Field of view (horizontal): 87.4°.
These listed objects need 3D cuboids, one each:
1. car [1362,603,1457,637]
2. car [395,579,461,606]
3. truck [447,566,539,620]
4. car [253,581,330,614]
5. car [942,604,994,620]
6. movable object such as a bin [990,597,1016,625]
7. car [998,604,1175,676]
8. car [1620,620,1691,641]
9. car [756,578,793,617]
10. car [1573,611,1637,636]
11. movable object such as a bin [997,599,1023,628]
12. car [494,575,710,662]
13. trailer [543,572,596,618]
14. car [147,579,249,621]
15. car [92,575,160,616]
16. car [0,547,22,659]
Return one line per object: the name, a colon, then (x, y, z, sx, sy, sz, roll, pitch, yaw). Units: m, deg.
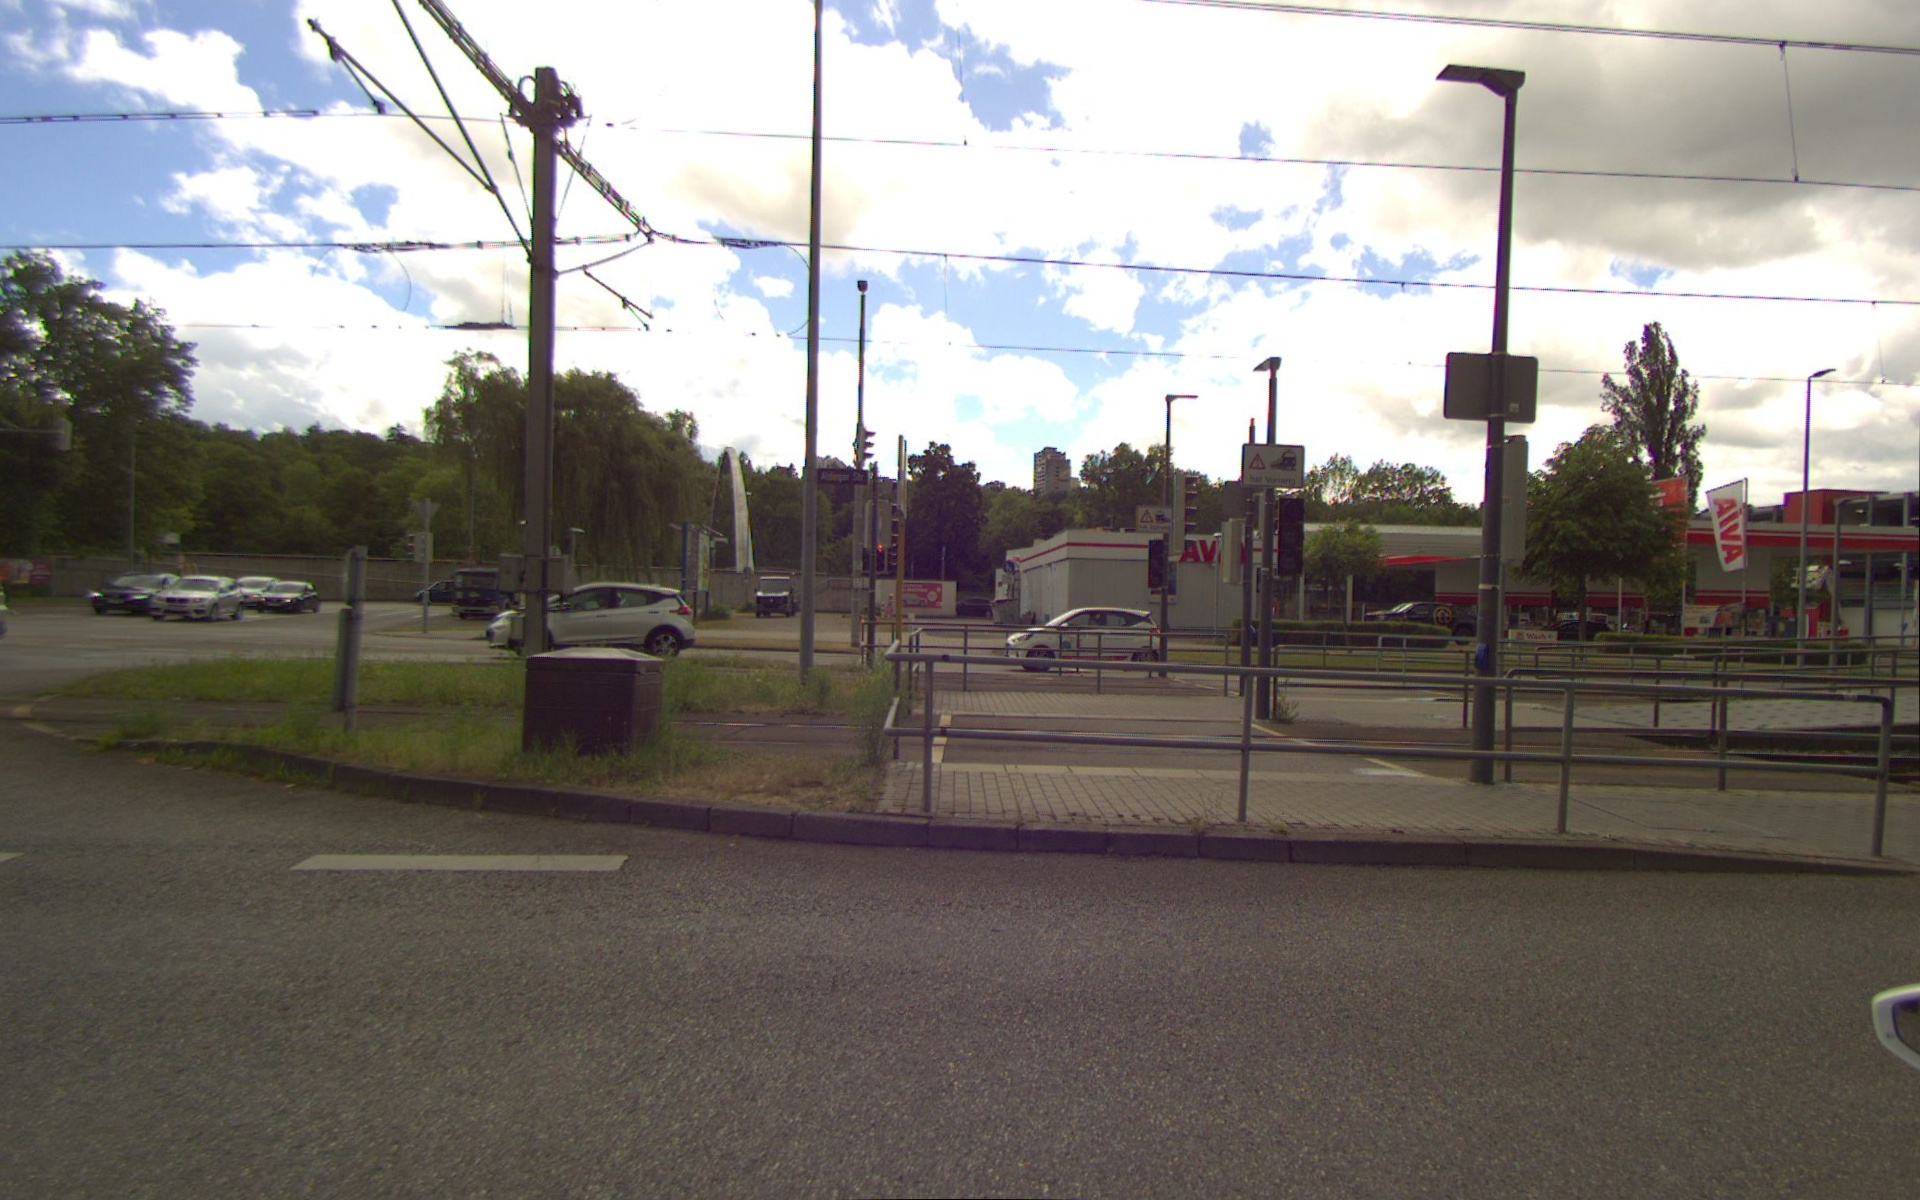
car: (20.335, 0.890, 45.538, 3.567, 1.368, 1.617, 2, 0, -5)
car: (-35.794, -0.492, 67.674, 3.583, 1.575, 1.721, 2, -1, -18)
truck: (-23.761, -0.316, 51.418, 2.341, 2.527, 5.821, 2, 0, -5)
car: (-31.876, -0.128, 48.043, 1.766, 1.451, 4.270, 2, 0, -15)
car: (0.624, 0.953, 79.201, 3.827, 1.136, 1.568, 2, -1, -18)
movable object such as a bin: (2.385, 0.610, 55.919, 1.346, 1.503, 1.105, 2, -1, -1)
car: (2.855, 0.897, 23.137, 3.756, 1.473, 1.631, 2, 0, -4)
car: (50.645, 2.195, 73.173, 3.985, 1.383, 1.913, 2, -1, -8)
car: (-10.736, -0.094, 58.413, 1.812, 2.079, 4.377, 2, -1, -7)
car: (50.545, 1.867, 78.757, 3.985, 1.775, 1.913, 2, -1, -9)
movable object such as a bin: (2.689, 0.743, 54.146, 1.346, 1.514, 1.105, 2, -1, -1)
car: (-7.475, 0.402, 21.070, 4.066, 1.663, 1.740, 2, 0, -24)
trailer: (-20.944, -0.218, 54.003, 1.531, 2.288, 4.388, 2, -1, -7)
car: (-28.808, -0.024, 38.139, 1.769, 1.451, 4.399, 2, 0, -19)
car: (-32.408, -0.189, 39.094, 1.779, 1.451, 3.603, 2, 1, -36)
car: (-16.249, -0.025, 13.686, 1.650, 1.664, 4.838, 2, 0, 36)
